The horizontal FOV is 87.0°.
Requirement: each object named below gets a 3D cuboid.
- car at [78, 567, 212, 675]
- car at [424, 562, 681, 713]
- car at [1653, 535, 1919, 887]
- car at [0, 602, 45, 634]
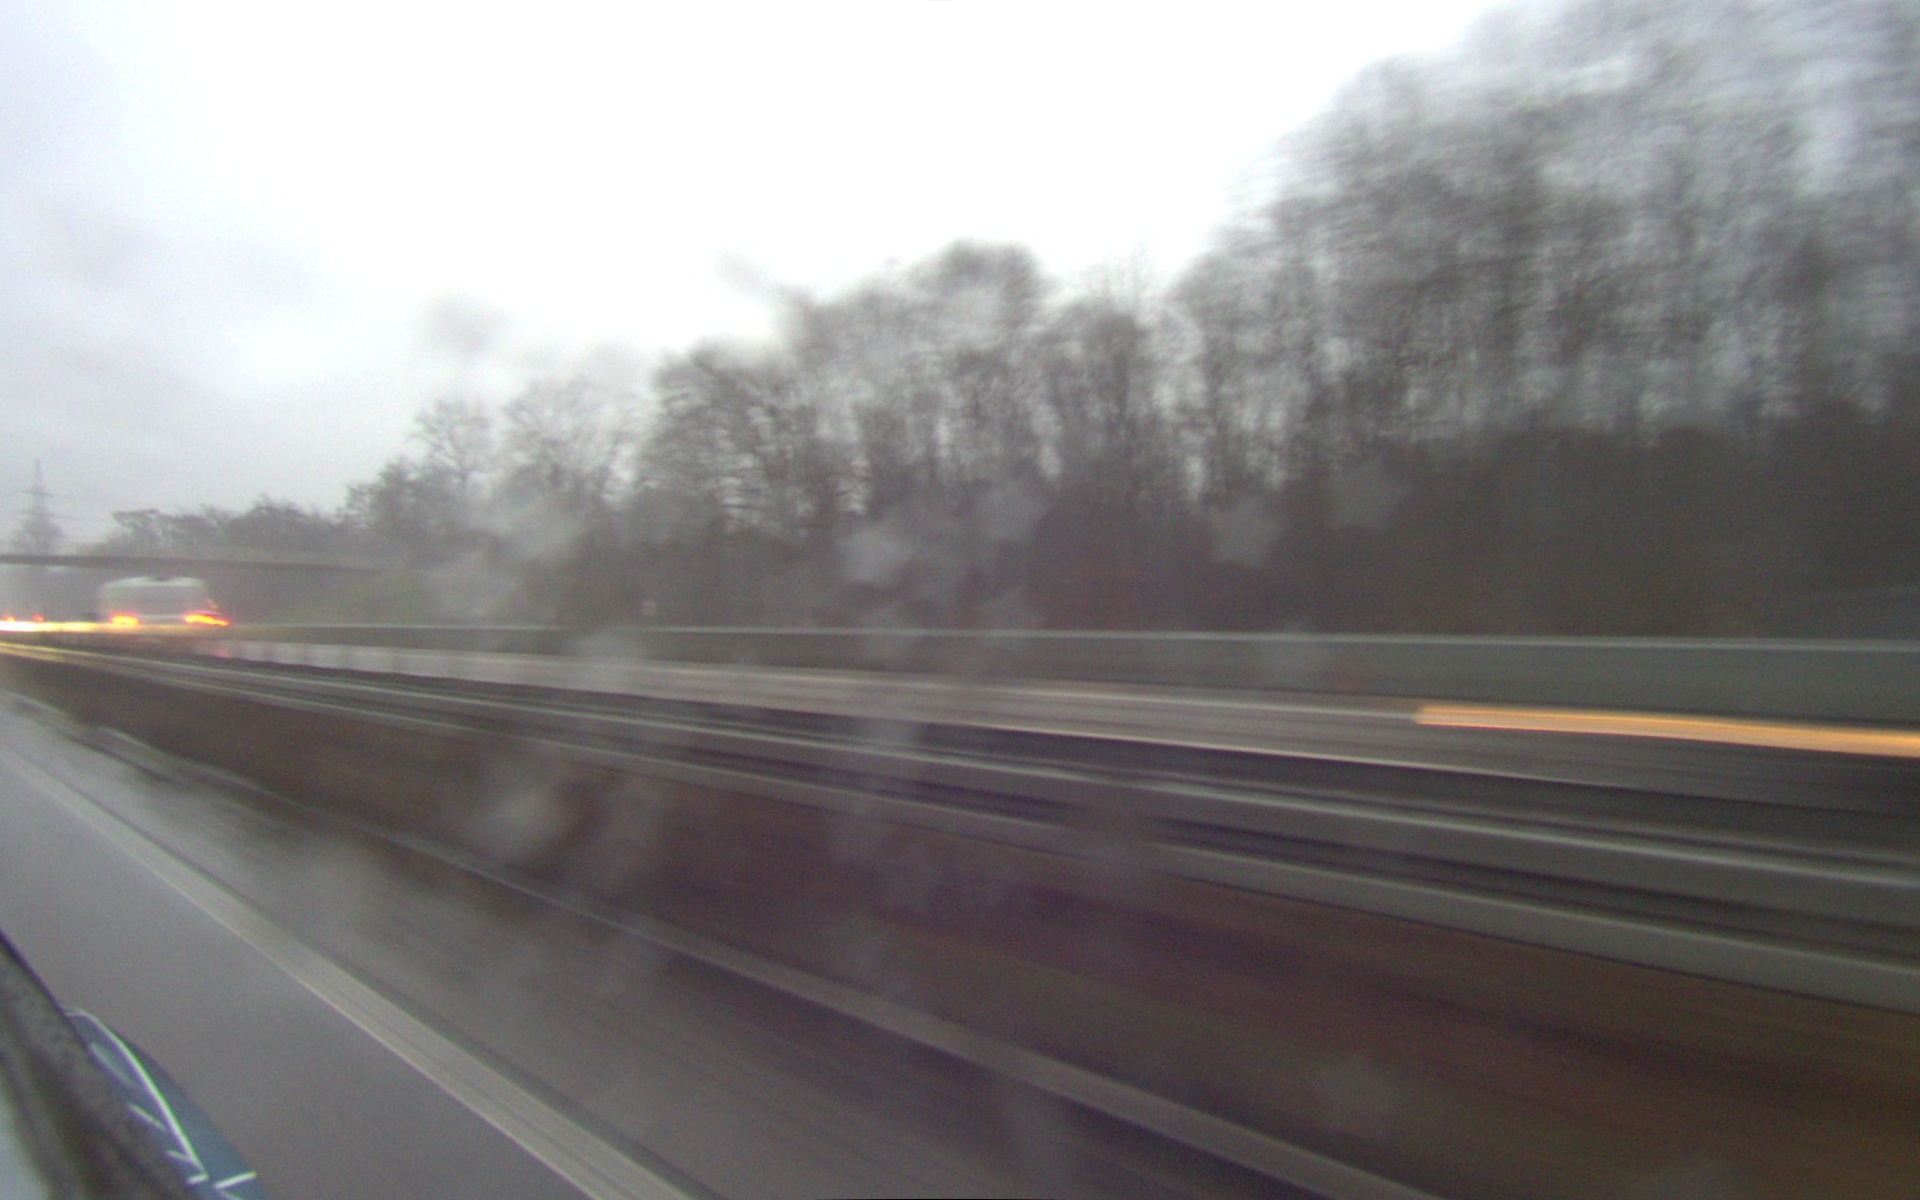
[{"bbox_3d":[-25.861,0.632,32.022,5.604,3.113,2.280,-1,0,40],"label":"car"},{"bbox_3d":[-6.571,0.520,16.111,4.391,2.028,1.973,-1,2,42],"label":"car"},{"bbox_3d":[5.776,0.487,4.616,4.150,1.606,1.811,-1,0,40],"label":"car"},{"bbox_3d":[-79.375,1.495,85.474,6.266,2.542,2.450,-1,0,41],"label":"car"}]
